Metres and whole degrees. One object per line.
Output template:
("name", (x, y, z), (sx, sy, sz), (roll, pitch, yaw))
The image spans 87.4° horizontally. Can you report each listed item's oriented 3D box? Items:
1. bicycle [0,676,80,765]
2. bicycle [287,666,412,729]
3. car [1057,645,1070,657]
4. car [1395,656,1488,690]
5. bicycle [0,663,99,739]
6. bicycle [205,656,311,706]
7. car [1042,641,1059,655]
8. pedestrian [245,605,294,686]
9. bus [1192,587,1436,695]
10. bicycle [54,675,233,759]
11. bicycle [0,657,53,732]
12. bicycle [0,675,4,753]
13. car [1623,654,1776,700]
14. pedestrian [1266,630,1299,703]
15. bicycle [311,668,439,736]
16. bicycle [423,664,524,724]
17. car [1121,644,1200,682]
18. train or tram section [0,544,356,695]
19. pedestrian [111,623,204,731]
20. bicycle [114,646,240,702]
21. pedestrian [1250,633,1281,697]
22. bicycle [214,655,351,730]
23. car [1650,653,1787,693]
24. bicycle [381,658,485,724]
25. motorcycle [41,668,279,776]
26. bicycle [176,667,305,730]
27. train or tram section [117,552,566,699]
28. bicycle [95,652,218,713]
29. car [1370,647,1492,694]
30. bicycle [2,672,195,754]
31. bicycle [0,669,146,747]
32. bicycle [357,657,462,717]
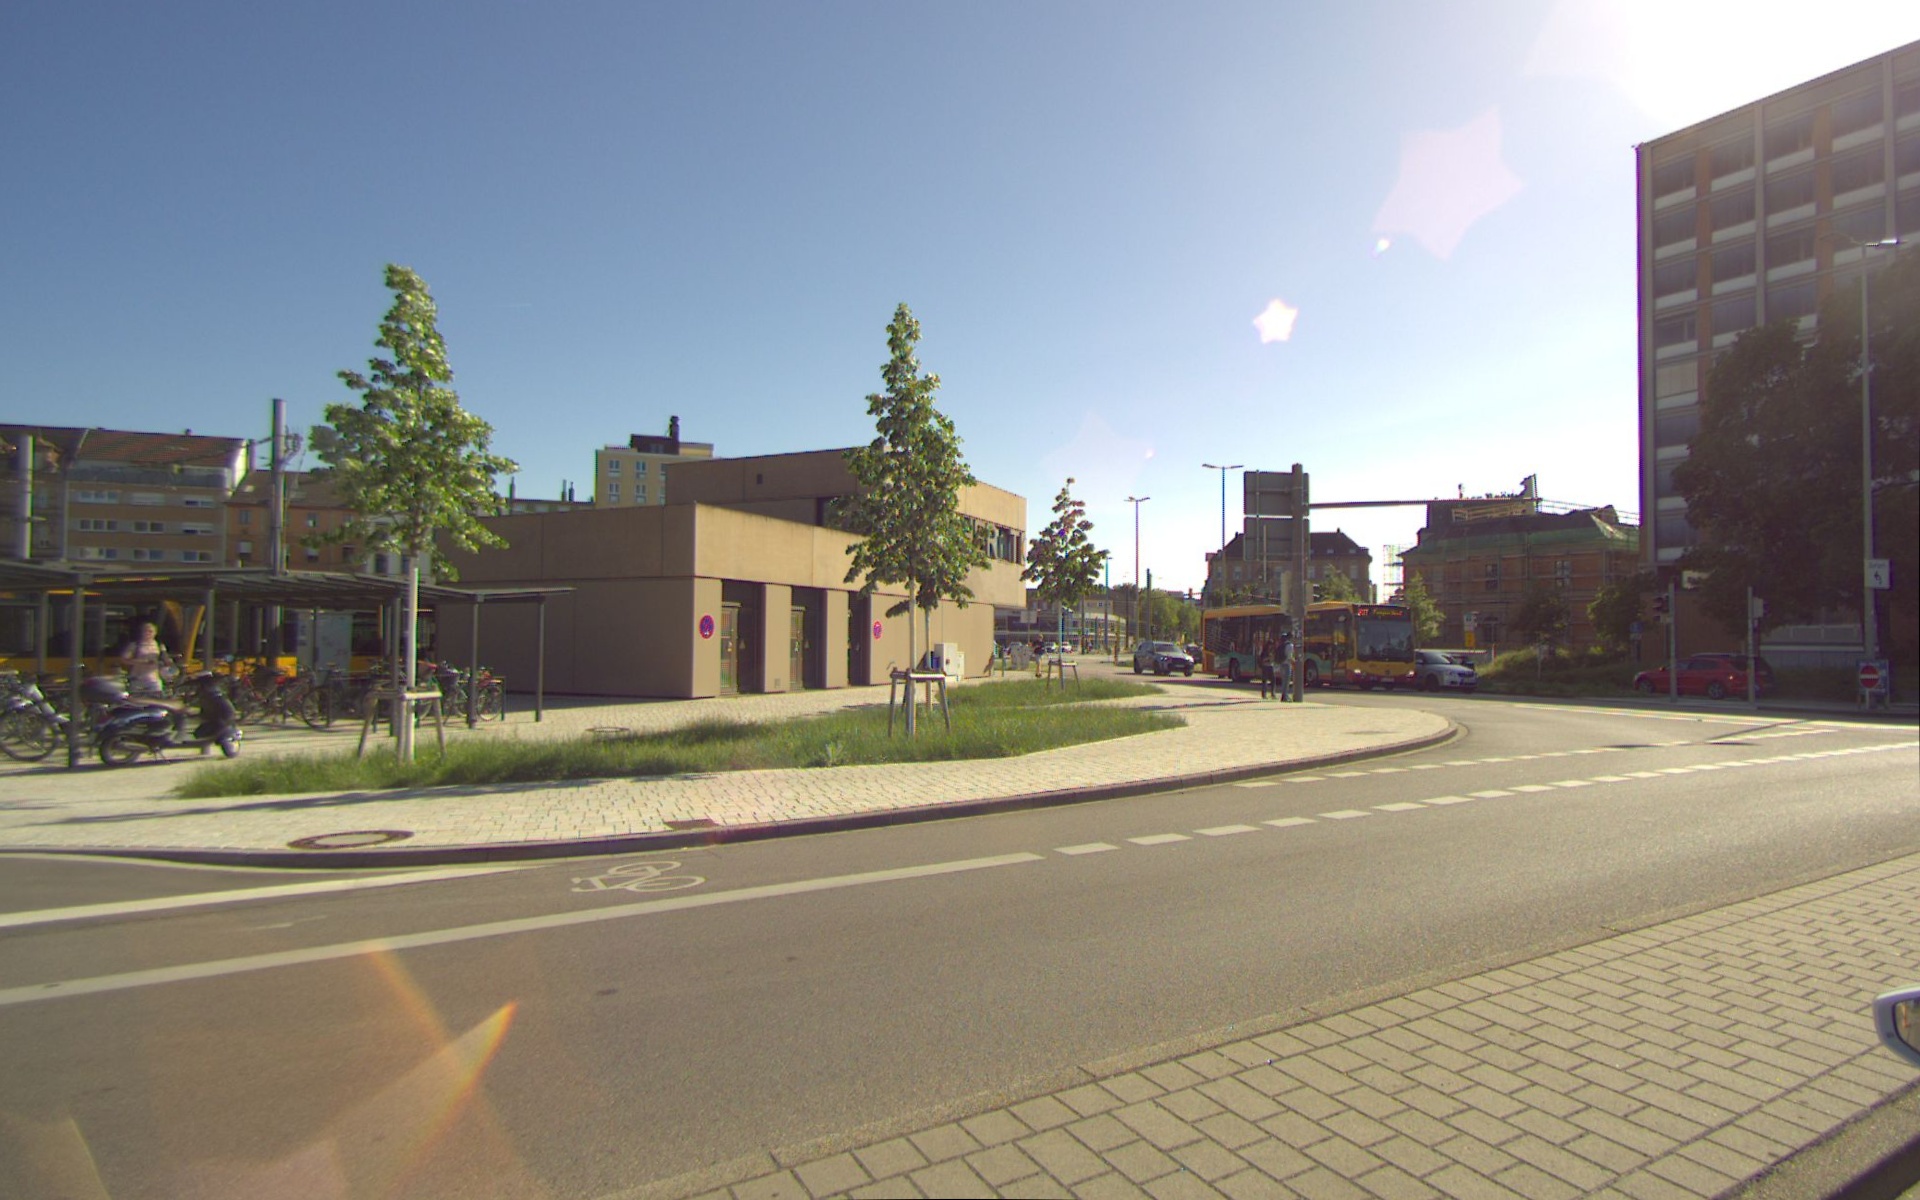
("bicycle", (-12.163, 1.500, 12.345), (0.677, 1.055, 1.891), (0, -2, 27))
("bicycle", (-10.865, 1.705, 17.938), (0.492, 1.010, 1.887), (0, -2, 31))
("car", (15.697, 7.797, 152.645), (1.865, 1.728, 4.003), (0, -2, 7))
("car", (23.678, 3.566, 49.536), (2.067, 1.467, 3.901), (1, -2, -17))
("bicycle", (-14.521, 1.545, 15.450), (0.617, 1.094, 1.829), (0, -2, 25))
("bicycle", (-15.507, 1.763, 22.241), (0.617, 1.021, 1.829), (0, -2, 25))
("car", (12.845, 6.784, 142.190), (1.959, 1.814, 4.003), (0, -2, 11))
("pedestrian", (-16.274, 1.071, 23.689), (0.738, 1.880, 0.709), (1, -2, -19))
("bus", (13.351, 1.584, 39.878), (3.193, 3.617, 12.437), (1, -2, -12))
("bicycle", (-11.287, 1.584, 13.959), (0.617, 1.021, 1.829), (0, -2, 25))
("bicycle", (-15.677, 1.513, 15.904), (0.617, 1.176, 1.829), (0, -2, 25))
("bicycle", (-13.267, 1.477, 12.608), (0.539, 1.021, 1.749), (0, -2, 28))
("car", (26.652, 2.740, 36.373), (2.034, 1.458, 4.040), (1, -2, -19))
("pedestrian", (8.389, 1.722, 26.157), (0.594, 1.880, 0.681), (1, -2, -7))
("bicycle", (-9.921, 1.703, 17.121), (0.617, 1.021, 1.828), (0, -2, 27))
("bicycle", (-9.072, 1.732, 18.822), (0.616, 1.021, 1.832), (0, -2, 16))
("car", (10.625, 3.313, 53.547), (1.975, 1.885, 4.720), (1, -2, -21))
("train or tram section", (-23.225, 0.572, 27.227), (2.779, 3.648, 12.320), (0, -2, 24))
("pedestrian", (-13.356, 1.249, 16.733), (1.005, 1.727, 0.838), (0, -2, 26))
("bicycle", (-15.242, 1.421, 19.604), (0.617, 1.021, 1.828), (0, -2, 27))
("pedestrian", (8.411, 1.780, 27.661), (0.594, 1.719, 0.634), (1, -2, -7))
("bicycle", (-12.138, 1.625, 18.067), (0.496, 1.225, 2.051), (0, -2, 26))
("car", (30.434, 2.892, 40.457), (2.031, 1.458, 4.047), (1, -2, -14))
("bicycle", (-9.992, 1.699, 19.122), (0.616, 1.161, 1.831), (0, -2, 18))
("motorcycle", (-10.169, 1.503, 12.914), (0.599, 1.173, 2.360), (0, -2, 25))
("bicycle", (-13.114, 1.769, 18.376), (0.617, 1.021, 1.828), (0, -2, 27))
("train or tram section", (-18.007, 0.847, 31.068), (2.702, 3.648, 12.318), (0, -2, 25))
("bicycle", (-16.161, 1.640, 20.267), (0.617, 1.146, 1.828), (0, -2, 27))
("car", (16.987, 2.510, 36.416), (1.863, 1.421, 3.841), (4, -2, -19))
("bicycle", (-12.370, 1.584, 14.510), (0.617, 1.021, 2.026), (0, -2, 25))
("bicycle", (-13.354, 1.578, 14.951), (0.617, 1.021, 1.829), (0, -2, 25))
("bicycle", (-10.995, 1.712, 20.127), (0.617, 1.107, 1.829), (0, -2, 25))
